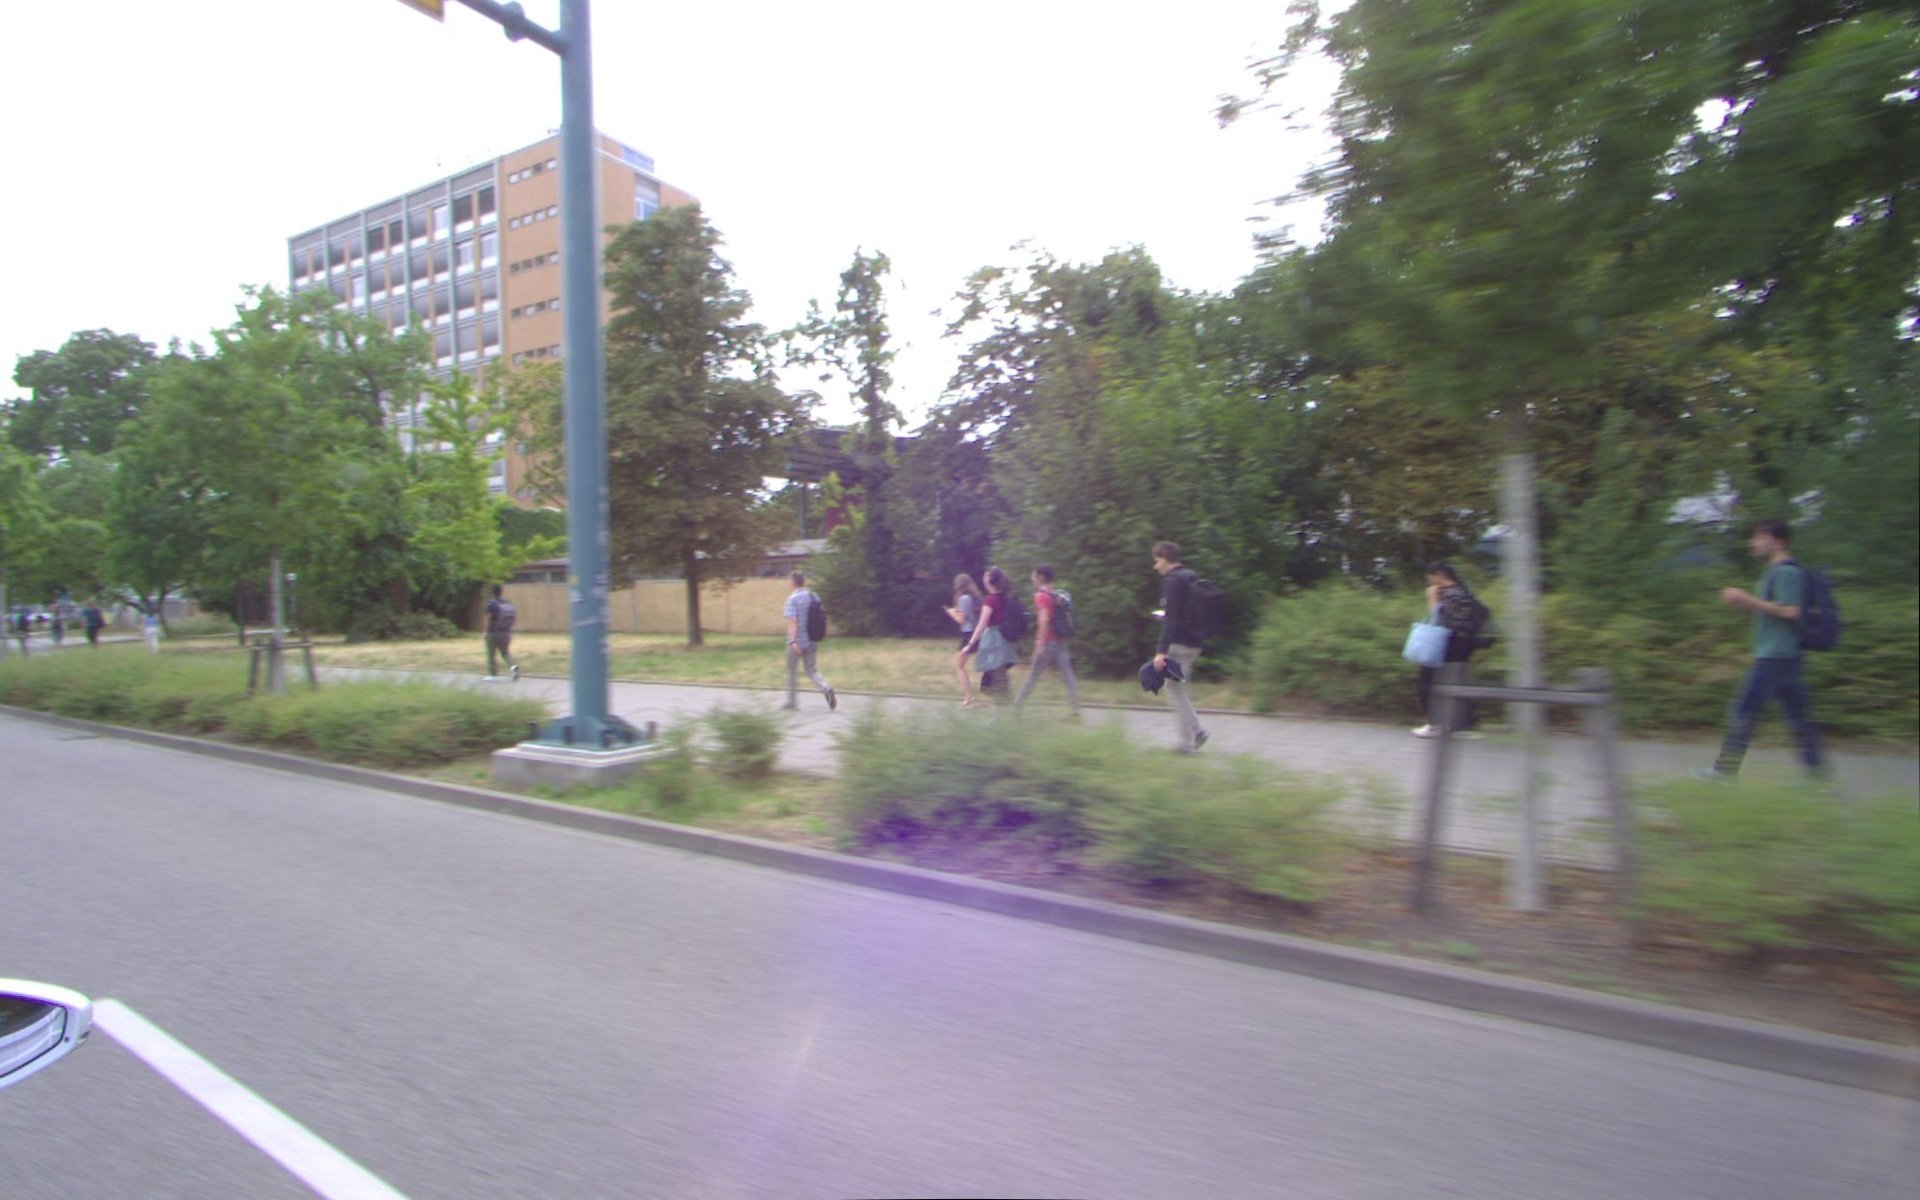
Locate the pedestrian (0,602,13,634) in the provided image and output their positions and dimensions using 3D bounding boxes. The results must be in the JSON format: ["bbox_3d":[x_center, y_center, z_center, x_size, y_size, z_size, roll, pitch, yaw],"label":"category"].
[{"bbox_3d":[-61.043,1.146,64.005,0.589,2.040,0.612,0,1,34],"label":"pedestrian"}]

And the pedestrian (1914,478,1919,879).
[{"bbox_3d":[5.029,0.360,4.450,0.923,1.855,0.883,-1,1,-27],"label":"pedestrian"}]

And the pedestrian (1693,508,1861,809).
[{"bbox_3d":[5.361,0.361,6.623,0.801,1.846,0.654,0,1,36],"label":"pedestrian"}]

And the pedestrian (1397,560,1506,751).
[{"bbox_3d":[4.357,0.464,8.870,0.775,1.605,0.633,0,1,36],"label":"pedestrian"}]

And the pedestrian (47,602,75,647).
[{"bbox_3d":[-35.675,0.953,39.735,0.796,1.736,0.758,-2,1,-42],"label":"pedestrian"}]

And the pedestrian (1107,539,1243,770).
[{"bbox_3d":[1.833,0.436,8.530,0.941,1.846,0.690,0,1,36],"label":"pedestrian"}]

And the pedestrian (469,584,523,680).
[{"bbox_3d":[-8.473,0.565,18.283,0.738,1.705,0.585,0,1,36],"label":"pedestrian"}]

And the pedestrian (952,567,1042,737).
[{"bbox_3d":[0.383,0.513,10.338,0.743,1.677,0.554,0,1,36],"label":"pedestrian"}]

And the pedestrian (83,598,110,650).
[{"bbox_3d":[-29.538,0.808,34.274,0.641,1.736,0.557,-2,2,-40],"label":"pedestrian"}]

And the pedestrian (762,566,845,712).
[{"bbox_3d":[-1.955,0.471,12.507,0.804,1.759,0.617,0,1,36],"label":"pedestrian"}]

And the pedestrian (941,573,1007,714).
[{"bbox_3d":[0.167,0.509,12.114,0.644,1.655,0.466,0,1,36],"label":"pedestrian"}]

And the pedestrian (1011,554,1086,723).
[{"bbox_3d":[0.971,0.409,10.950,0.655,1.787,0.482,0,1,36],"label":"pedestrian"}]

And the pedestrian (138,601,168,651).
[{"bbox_3d":[-24.609,0.789,30.537,0.651,1.490,0.557,-1,1,-38],"label":"pedestrian"}]
